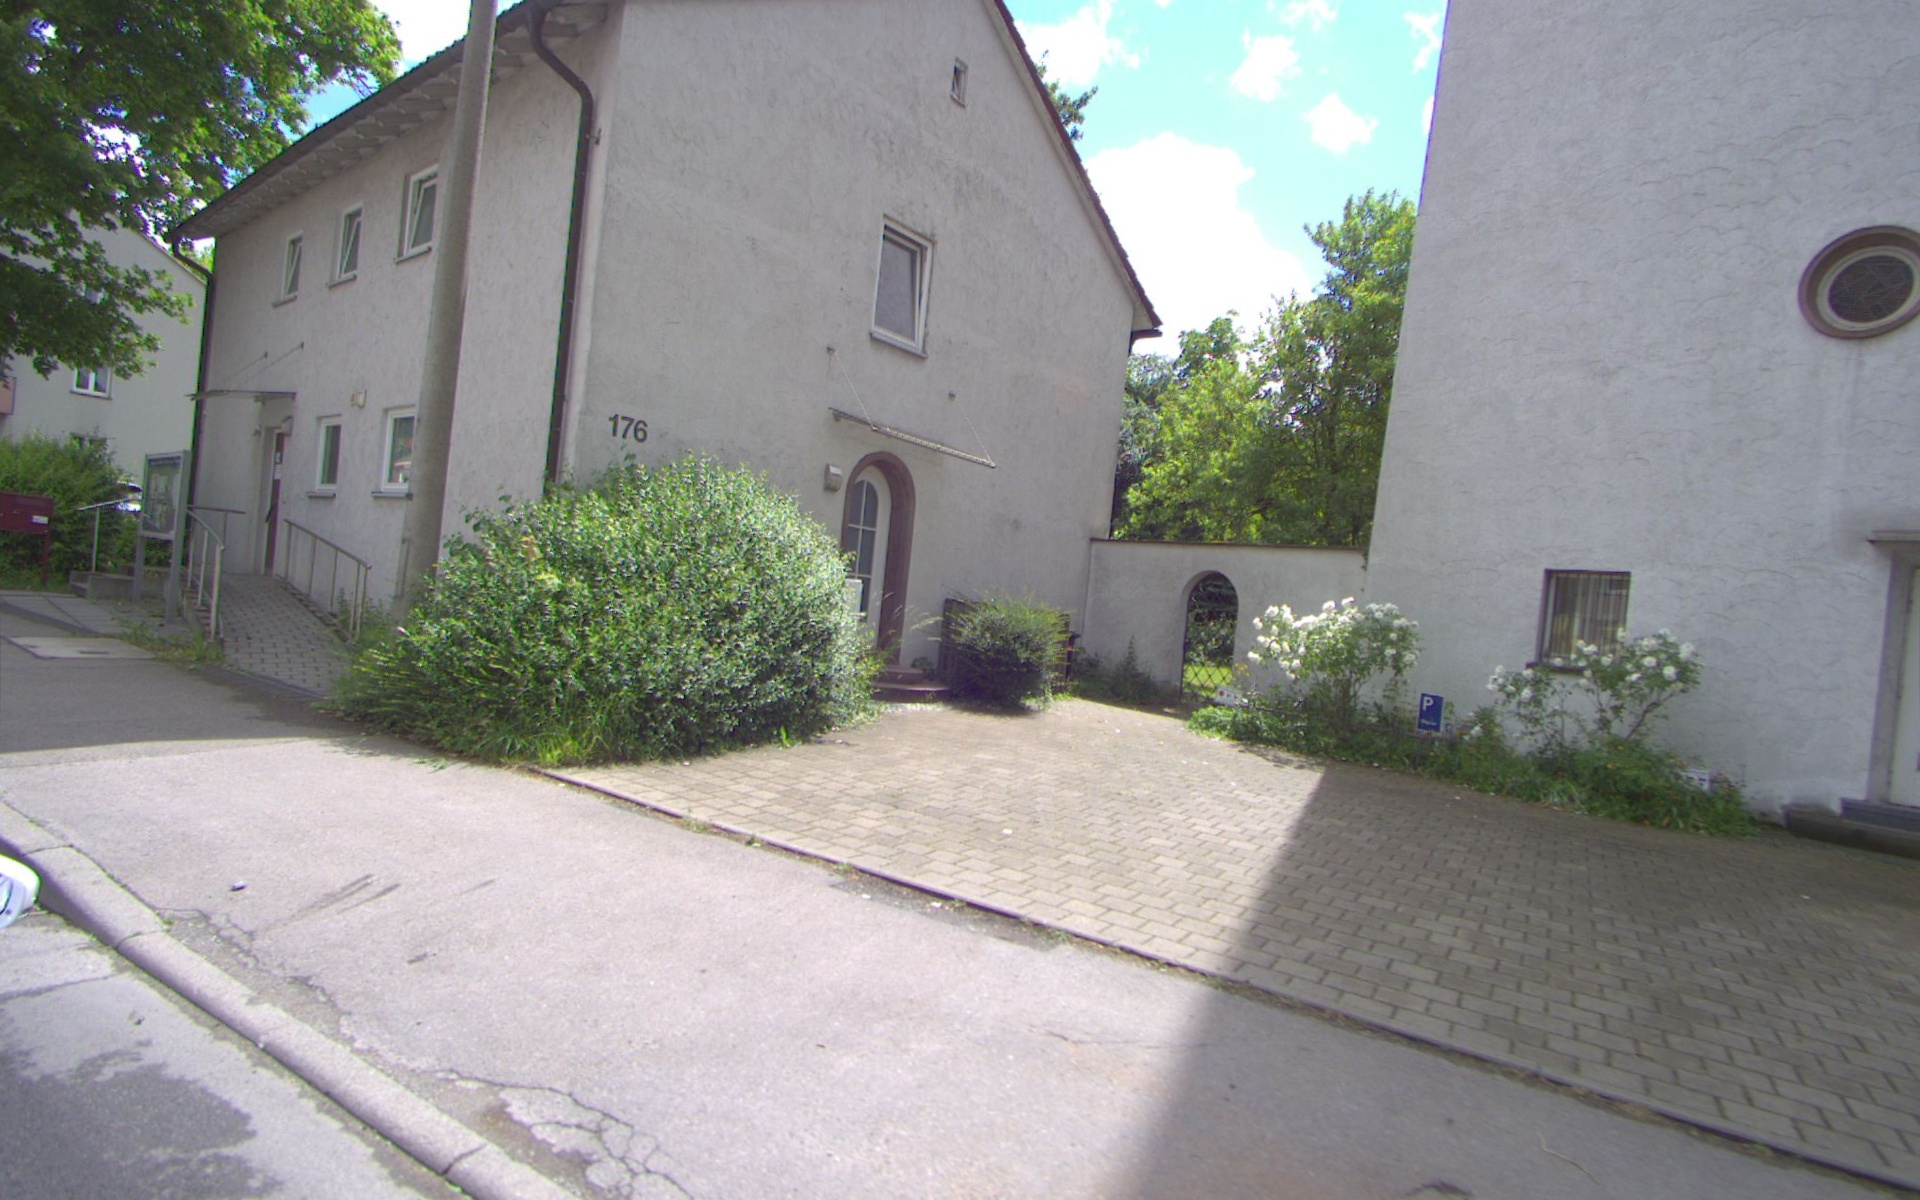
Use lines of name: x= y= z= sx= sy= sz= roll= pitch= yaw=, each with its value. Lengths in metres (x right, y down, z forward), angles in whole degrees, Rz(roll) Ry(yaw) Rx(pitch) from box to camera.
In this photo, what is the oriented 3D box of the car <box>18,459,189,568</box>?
car: x=-16.120 y=-1.621 z=18.872 sx=3.944 sy=1.670 sz=1.808 roll=6 pitch=1 yaw=41
